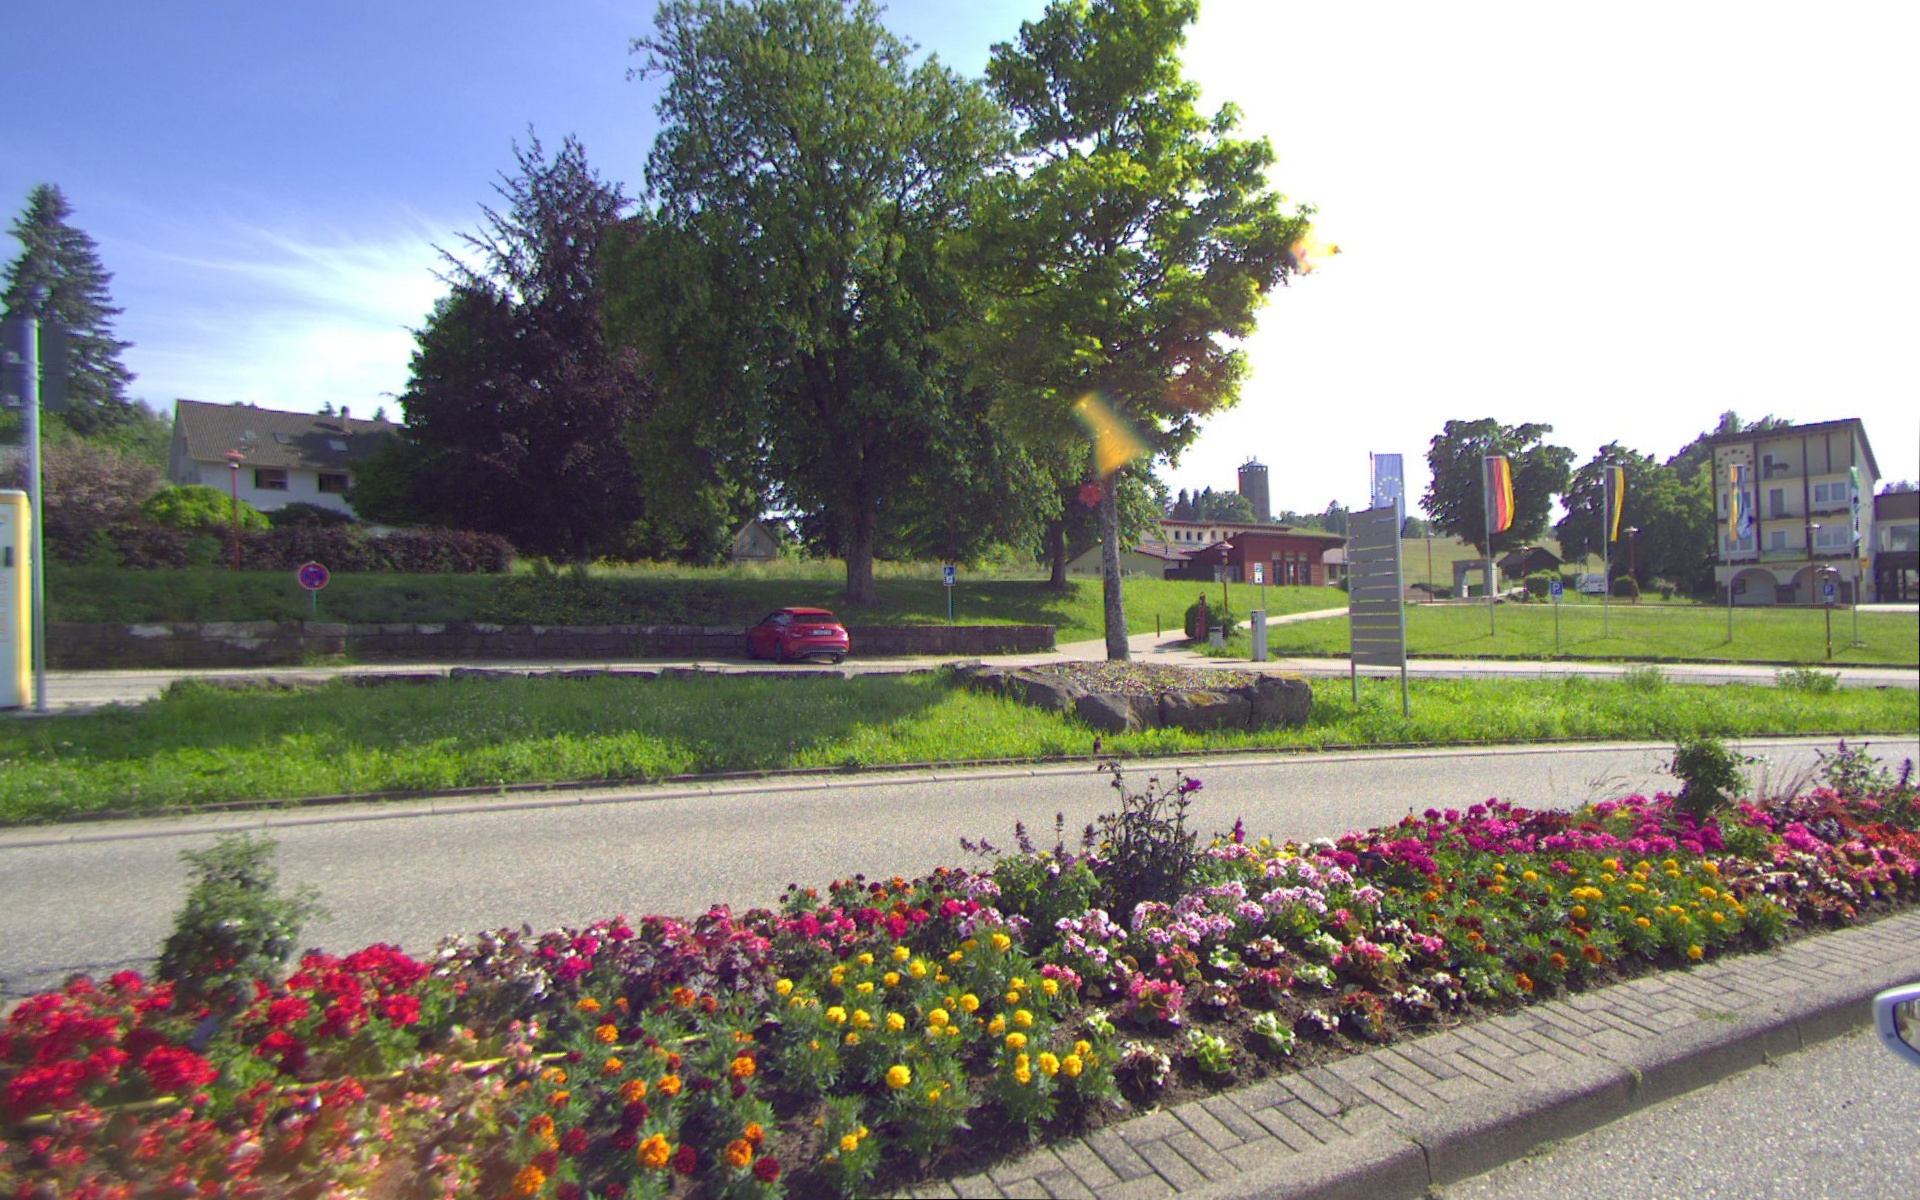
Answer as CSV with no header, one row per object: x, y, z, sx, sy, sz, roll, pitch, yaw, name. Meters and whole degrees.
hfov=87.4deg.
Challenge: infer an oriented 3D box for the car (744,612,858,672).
-4.367,1.069,27.090,1.800,1.417,4.208,1,0,-27,car
